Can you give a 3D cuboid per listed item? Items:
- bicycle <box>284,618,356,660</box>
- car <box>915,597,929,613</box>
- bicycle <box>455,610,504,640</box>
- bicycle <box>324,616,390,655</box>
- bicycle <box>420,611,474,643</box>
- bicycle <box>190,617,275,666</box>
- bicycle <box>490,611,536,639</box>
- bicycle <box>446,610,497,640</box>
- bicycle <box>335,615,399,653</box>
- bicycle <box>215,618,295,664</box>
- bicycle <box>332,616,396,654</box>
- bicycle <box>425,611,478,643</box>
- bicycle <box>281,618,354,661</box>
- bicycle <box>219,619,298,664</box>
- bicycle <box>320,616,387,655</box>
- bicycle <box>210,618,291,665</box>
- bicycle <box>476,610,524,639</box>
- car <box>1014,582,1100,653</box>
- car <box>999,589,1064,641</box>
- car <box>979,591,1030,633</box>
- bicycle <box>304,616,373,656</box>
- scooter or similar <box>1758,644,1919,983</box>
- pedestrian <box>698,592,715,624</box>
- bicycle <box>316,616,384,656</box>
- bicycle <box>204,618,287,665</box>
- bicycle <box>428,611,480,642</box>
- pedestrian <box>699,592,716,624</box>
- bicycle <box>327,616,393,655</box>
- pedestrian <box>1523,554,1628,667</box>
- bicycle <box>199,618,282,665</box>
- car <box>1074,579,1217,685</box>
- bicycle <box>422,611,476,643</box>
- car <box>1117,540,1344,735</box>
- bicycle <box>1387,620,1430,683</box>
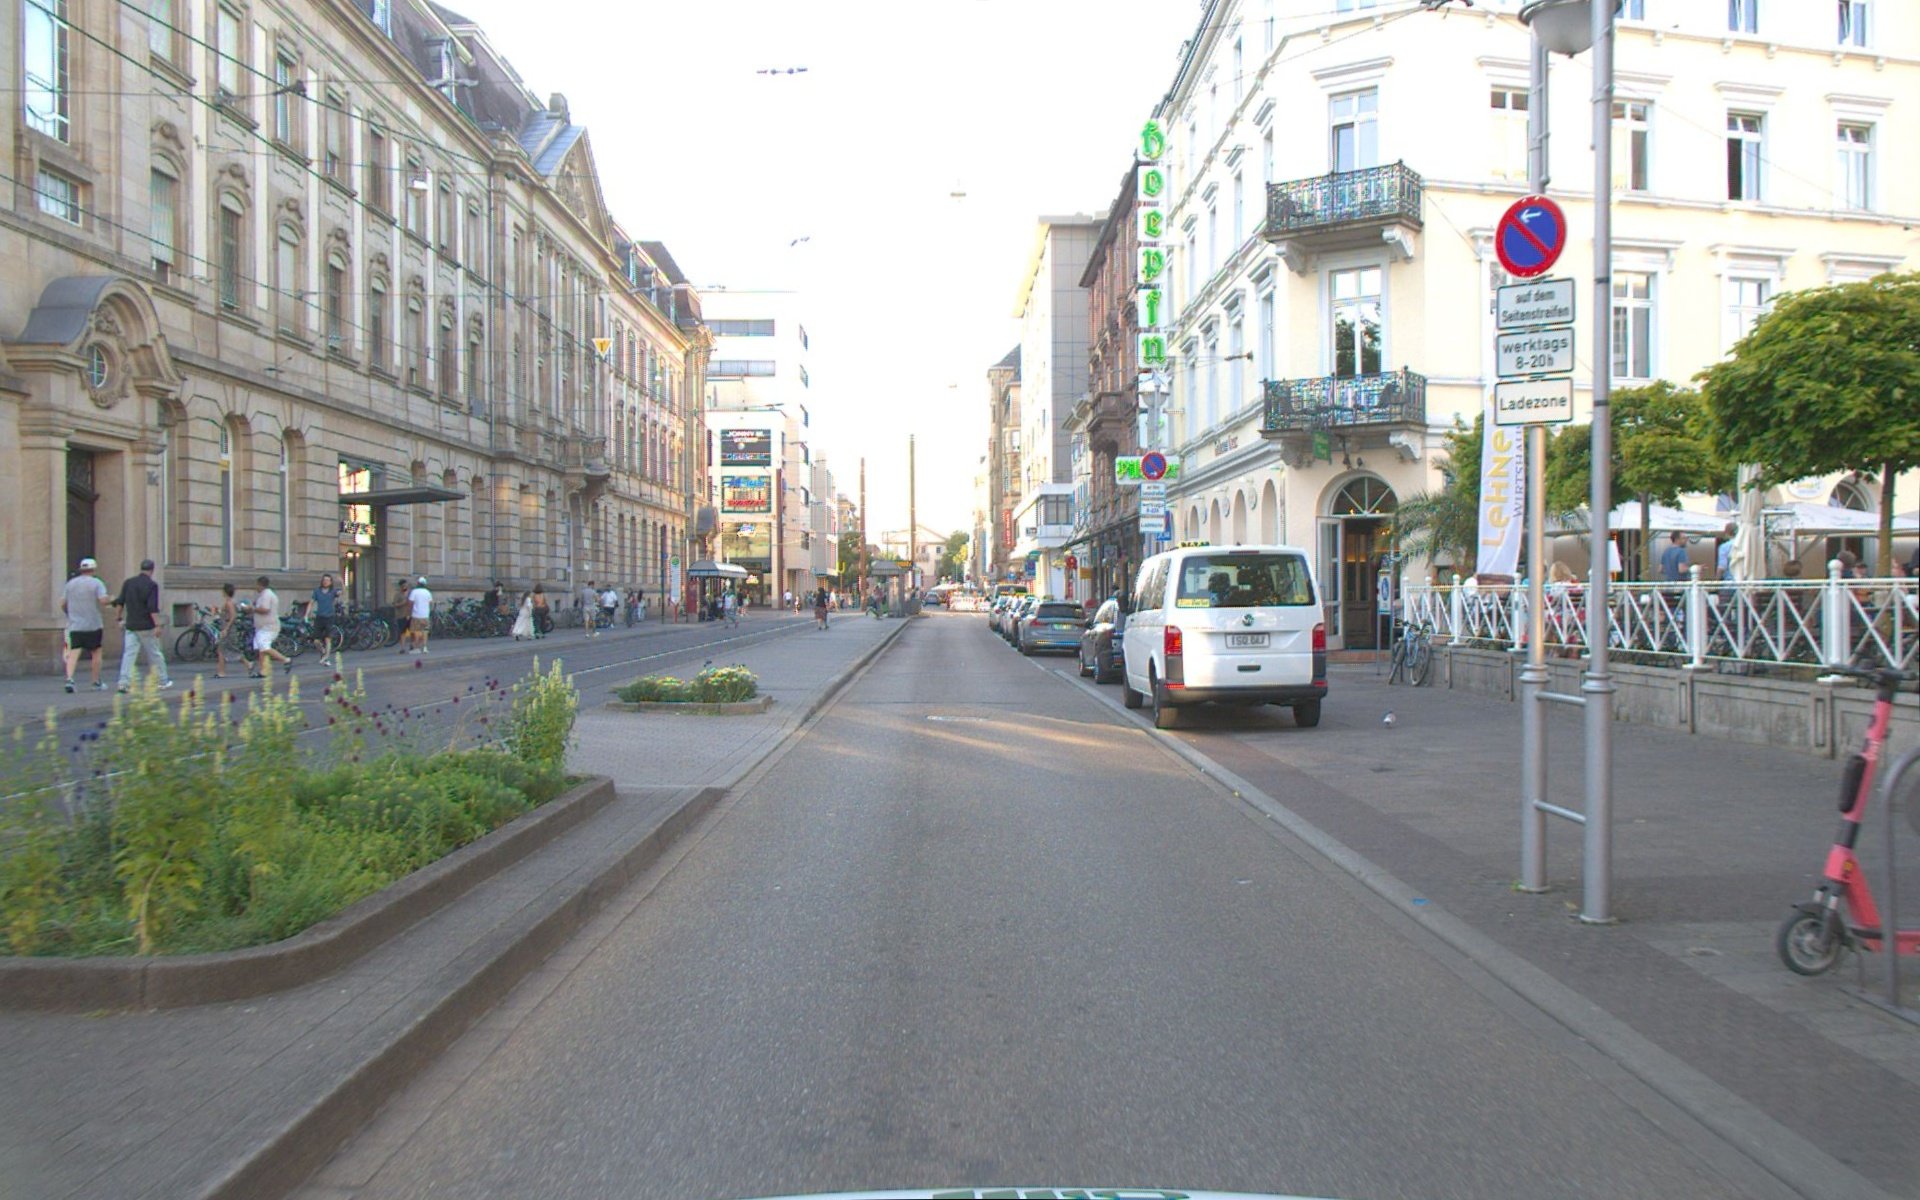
[{"bbox_3d":[-15.174,0.929,39.236,1.555,0.965,0.358,0,-1,-13],"label":"bicycle"},{"bbox_3d":[-4.833,0.669,211.604,1.725,1.859,3.569,-1,-2,-1],"label":"car"},{"bbox_3d":[-15.985,0.843,55.059,1.555,0.965,0.358,0,-2,-13],"label":"bicycle"},{"bbox_3d":[-15.406,0.910,42.265,1.555,0.965,0.358,0,-2,-13],"label":"bicycle"},{"bbox_3d":[-15.785,0.832,50.937,1.555,0.965,0.358,0,-2,-13],"label":"bicycle"},{"bbox_3d":[-15.028,0.853,34.198,1.555,0.965,0.358,0,-1,-13],"label":"bicycle"},{"bbox_3d":[-15.723,0.868,58.201,1.555,0.965,0.358,0,-2,-13],"label":"bicycle"},{"bbox_3d":[-15.902,0.817,53.882,1.555,0.965,0.358,0,-2,-13],"label":"bicycle"},{"bbox_3d":[-15.637,0.898,43.612,1.555,0.965,0.358,0,-2,-13],"label":"bicycle"},{"bbox_3d":[-15.335,0.893,35.987,1.555,0.965,0.358,0,-2,-13],"label":"bicycle"},{"bbox_3d":[-15.550,0.909,43.170,1.555,0.965,0.358,0,-2,-13],"label":"bicycle"},{"bbox_3d":[-15.914,0.837,51.786,1.555,0.965,0.358,0,-2,-13],"label":"bicycle"},{"bbox_3d":[-15.069,0.924,38.803,1.555,0.965,0.358,0,-2,-13],"label":"bicycle"},{"bbox_3d":[-15.430,0.902,36.388,1.555,0.965,0.358,0,-2,-13],"label":"bicycle"},{"bbox_3d":[-15.334,0.899,41.827,1.555,0.965,0.358,0,-2,-13],"label":"bicycle"},{"bbox_3d":[-15.255,0.891,35.580,1.555,0.965,0.358,0,-2,-13],"label":"bicycle"},{"bbox_3d":[-15.765,0.841,56.740,1.555,0.965,0.358,0,-2,-13],"label":"bicycle"},{"bbox_3d":[2.552,0.464,44.369,1.953,1.791,4.420,-1,0,-1],"label":"car"},{"bbox_3d":[2.433,0.548,57.205,1.953,1.696,4.419,-1,-2,-1],"label":"car"},{"bbox_3d":[1.856,0.538,70.346,1.953,1.696,4.419,-1,-2,-1],"label":"car"},{"bbox_3d":[-15.360,0.899,40.917,1.555,0.965,0.358,0,-2,-13],"label":"bicycle"},{"bbox_3d":[3.696,0.795,6.336,1.102,1.237,0.300,-2,0,0],"label":"scooter or similar"},{"bbox_3d":[-12.857,0.392,83.893,0.764,1.608,0.677,0,0,-12],"label":"pedestrian"},{"bbox_3d":[-15.264,0.905,41.392,1.555,0.965,0.358,0,-2,-13],"label":"bicycle"},{"bbox_3d":[-15.169,0.884,35.133,1.555,0.965,0.358,0,-2,-13],"label":"bicycle"},{"bbox_3d":[-15.977,0.838,52.219,1.555,0.965,0.358,0,-2,-13],"label":"bicycle"},{"bbox_3d":[-12.677,0.384,83.033,0.760,1.608,0.677,0,0,-12],"label":"pedestrian"},{"bbox_3d":[-15.489,0.914,42.720,1.555,0.965,0.358,0,-2,-13],"label":"bicycle"},{"bbox_3d":[7.505,0.140,20.210,0.884,1.337,0.966,-1,-2,-2],"label":"pedestrian"},{"bbox_3d":[-15.096,0.866,34.738,1.555,0.965,0.358,0,-1,-13],"label":"bicycle"},{"bbox_3d":[3.172,0.538,29.114,1.953,1.696,4.420,-1,-1,-1],"label":"car"},{"bbox_3d":[-15.867,0.839,51.386,1.554,0.965,0.358,0,-2,-11],"label":"bicycle"},{"bbox_3d":[3.053,0.400,19.576,1.876,2.016,4.420,-1,0,-1],"label":"car"},{"bbox_3d":[6.757,0.771,24.961,0.245,0.918,1.373,-1,-2,-1],"label":"bicycle"}]
